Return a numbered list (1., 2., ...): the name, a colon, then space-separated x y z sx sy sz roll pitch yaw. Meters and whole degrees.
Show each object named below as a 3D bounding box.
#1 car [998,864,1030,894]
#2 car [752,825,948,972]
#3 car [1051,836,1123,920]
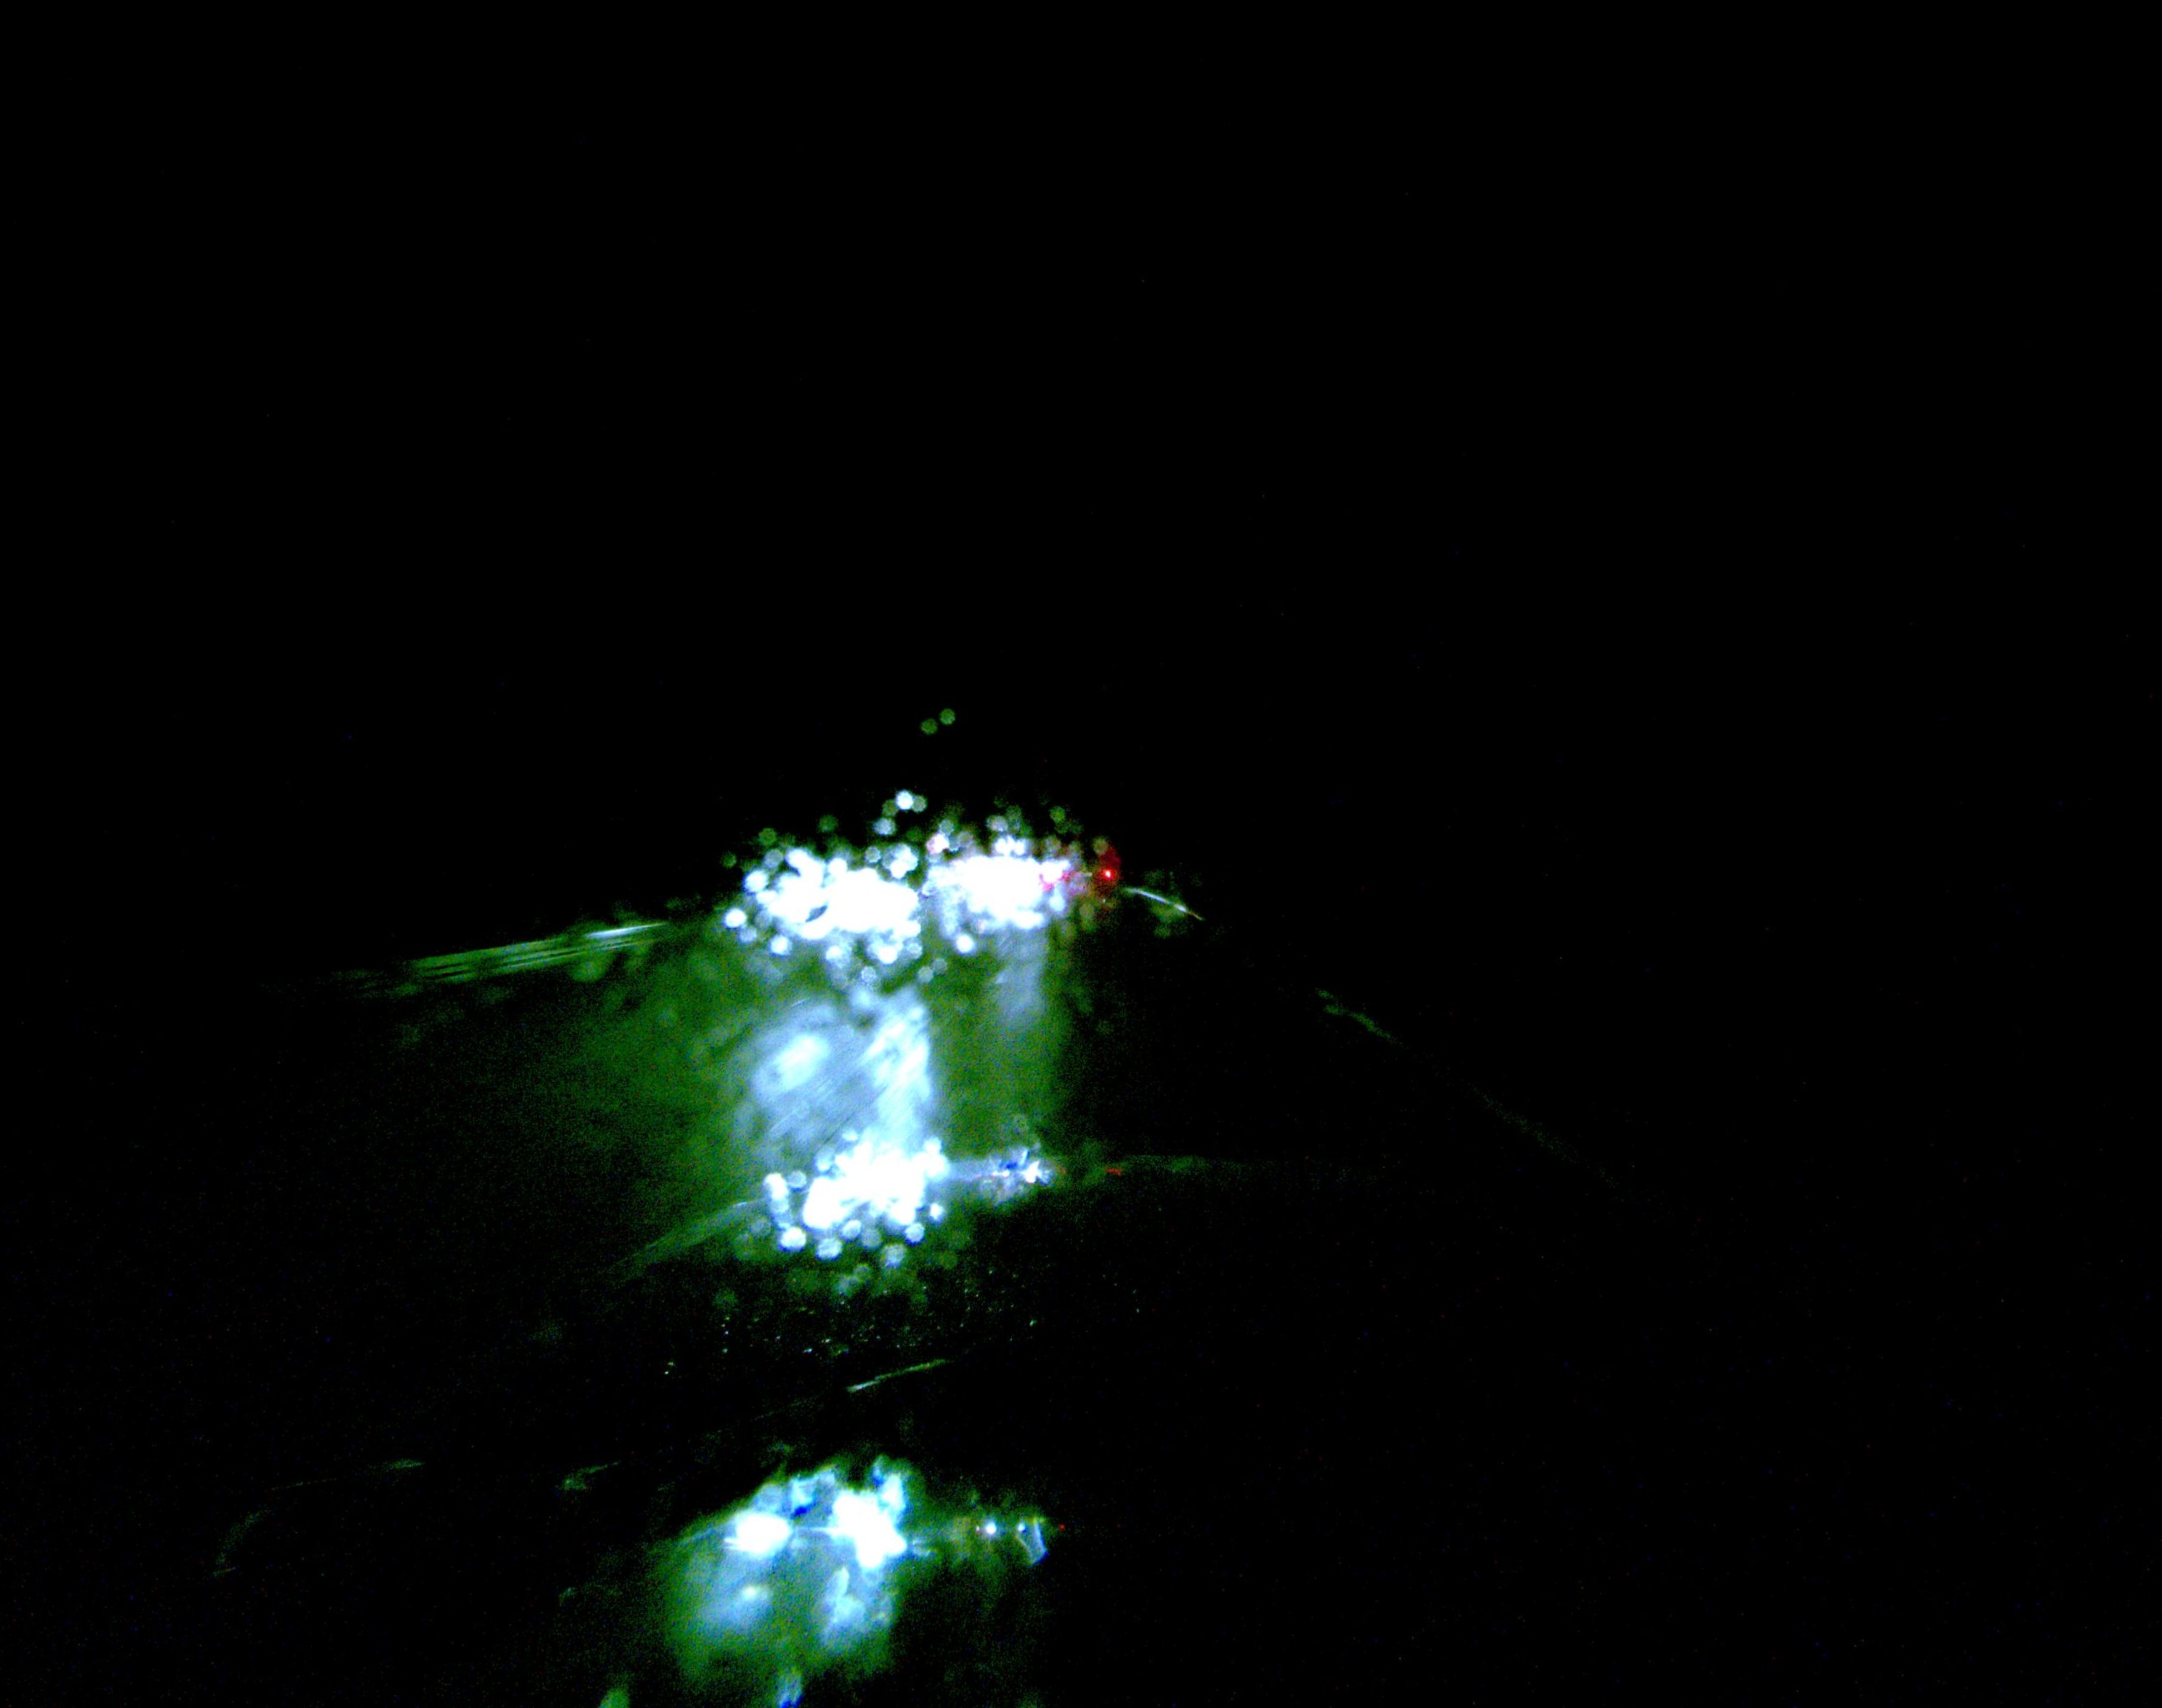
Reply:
1. car: -3.851 1.435 47.428 1.591 1.510 3.597 -4 0 -2
2. car: -3.663 0.647 13.837 1.987 2.068 4.346 -1 0 1
3. car: 0.175 0.774 27.451 2.174 2.557 4.506 1 -1 -1
